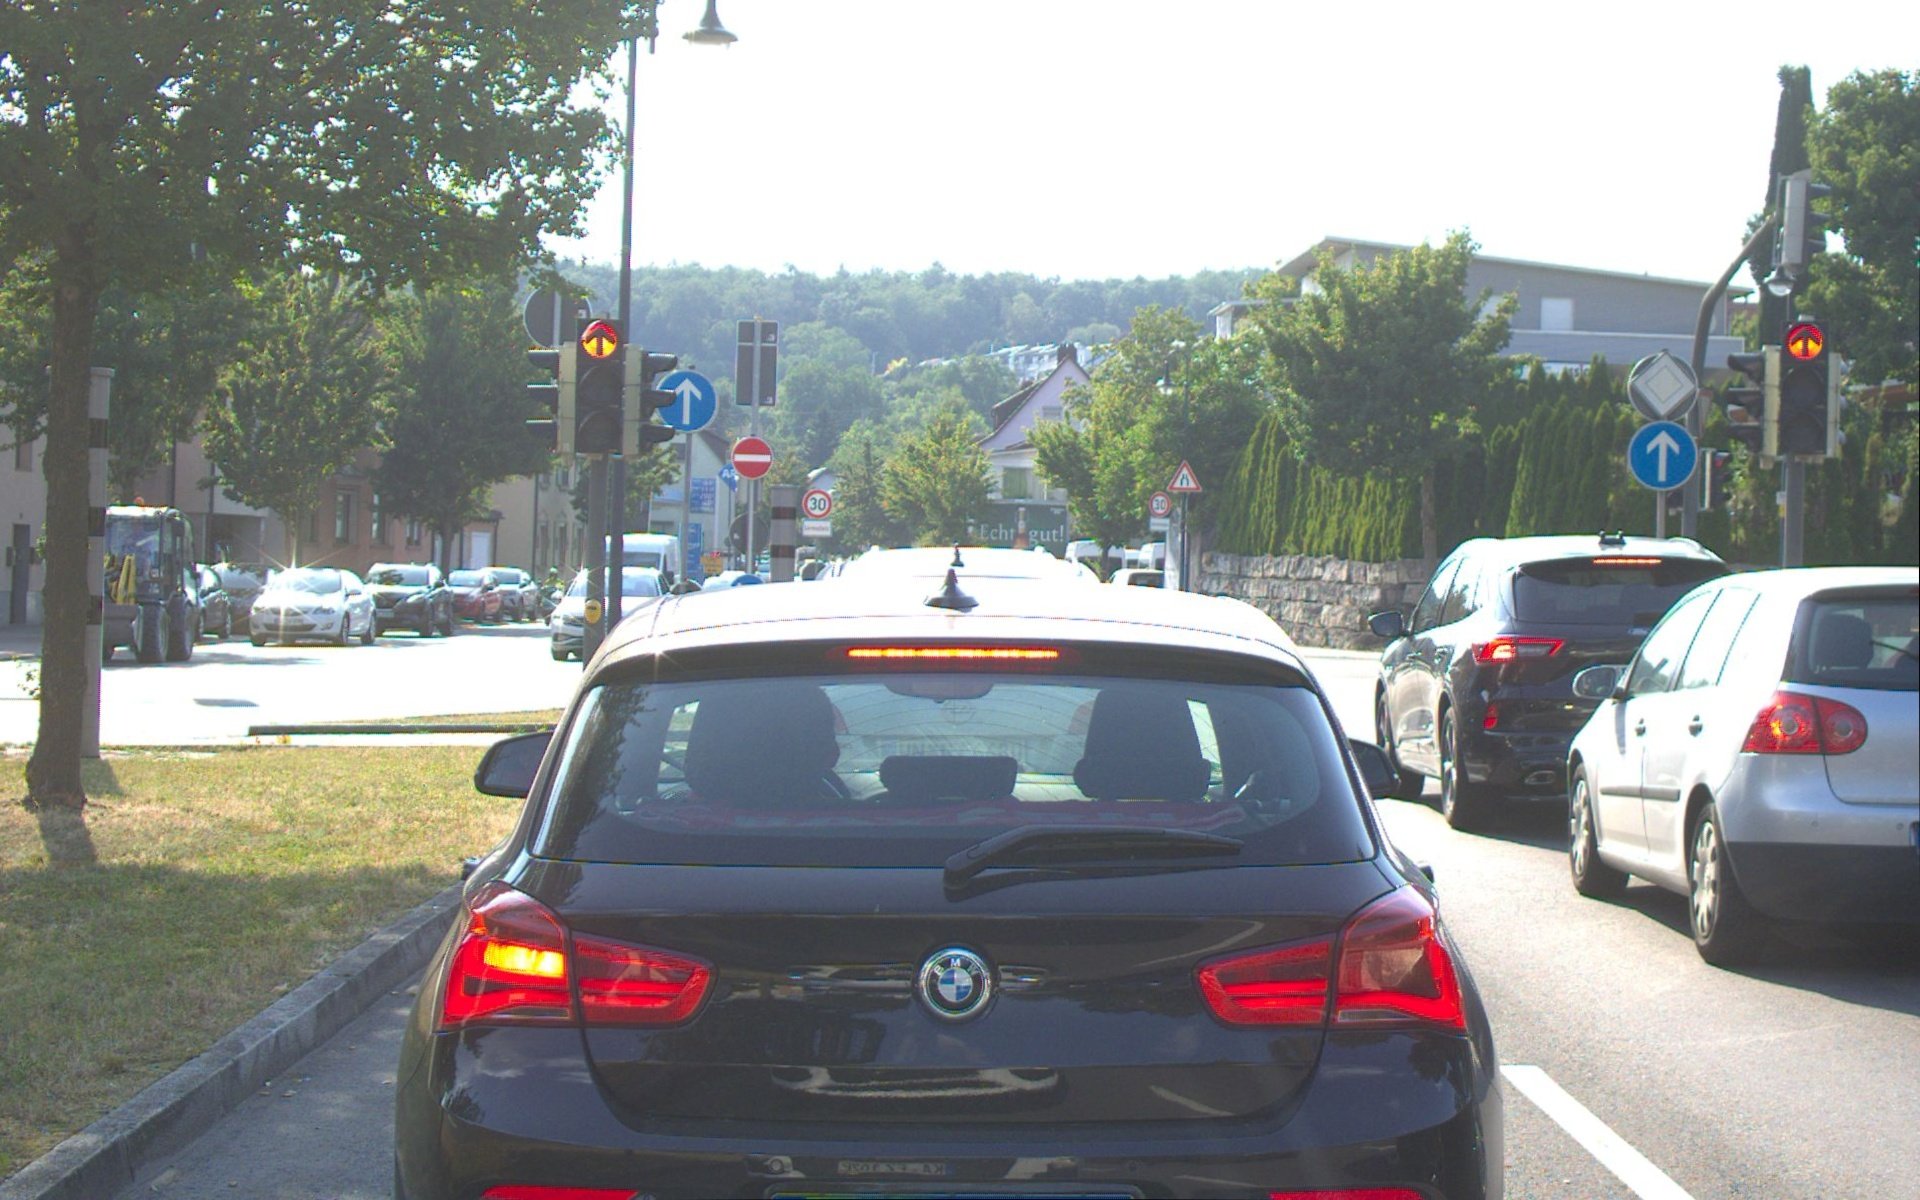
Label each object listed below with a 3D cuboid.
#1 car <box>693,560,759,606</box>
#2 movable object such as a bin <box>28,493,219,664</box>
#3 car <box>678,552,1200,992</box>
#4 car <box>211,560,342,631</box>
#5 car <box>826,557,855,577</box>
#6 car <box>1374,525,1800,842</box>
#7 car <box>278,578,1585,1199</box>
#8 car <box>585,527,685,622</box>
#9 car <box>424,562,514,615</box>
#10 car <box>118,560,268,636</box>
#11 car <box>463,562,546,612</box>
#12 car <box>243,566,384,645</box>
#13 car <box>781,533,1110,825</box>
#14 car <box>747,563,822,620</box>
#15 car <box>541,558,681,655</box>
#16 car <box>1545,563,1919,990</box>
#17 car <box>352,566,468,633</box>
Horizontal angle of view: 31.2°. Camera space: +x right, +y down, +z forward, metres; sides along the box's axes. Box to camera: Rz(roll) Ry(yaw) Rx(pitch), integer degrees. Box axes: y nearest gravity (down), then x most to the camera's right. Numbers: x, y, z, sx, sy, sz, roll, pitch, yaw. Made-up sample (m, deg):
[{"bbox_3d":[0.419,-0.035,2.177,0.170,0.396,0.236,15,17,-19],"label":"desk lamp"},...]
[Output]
[{"bbox_3d":[-7.801,-0.581,115.113,1.839,1.477,4.000,1,1,1],"label":"car"},{"bbox_3d":[-12.379,-0.337,51.138,1.736,2.433,4.450,0,1,0],"label":"movable object such as a bin"},{"bbox_3d":[-0.070,0.565,14.015,1.788,1.488,4.281,-1,1,0],"label":"car"},{"bbox_3d":[-14.523,-0.115,73.225,1.737,1.296,4.000,5,1,2],"label":"car"},{"bbox_3d":[-8.706,-2.401,250.787,1.737,1.296,3.799,5,1,2],"label":"car"},{"bbox_3d":[3.532,0.407,20.035,1.761,1.650,3.903,-1,1,0],"label":"car"},{"bbox_3d":[-0.033,0.685,6.870,1.788,1.393,4.281,-1,1,0],"label":"car"},{"bbox_3d":[-8.505,-0.681,90.370,2.084,2.385,5.529,1,1,0],"label":"car"},{"bbox_3d":[-13.858,-0.344,97.175,1.737,1.296,3.799,5,1,2],"label":"car"},{"bbox_3d":[-14.936,-0.061,67.163,1.737,1.296,4.000,5,1,3],"label":"car"},{"bbox_3d":[-13.600,-0.401,102.874,1.737,1.296,3.799,5,1,2],"label":"car"},{"bbox_3d":[-12.335,0.089,65.754,1.737,1.296,3.799,5,1,2],"label":"car"},{"bbox_3d":[-0.077,0.400,21.055,1.788,1.588,4.281,-1,1,0],"label":"car"},{"bbox_3d":[-4.739,-0.251,93.271,1.839,1.477,4.000,1,1,0],"label":"car"},{"bbox_3d":[-5.592,0.080,55.524,1.839,1.477,4.000,1,1,0],"label":"car"},{"bbox_3d":[3.559,0.585,13.753,1.761,1.421,3.903,-1,1,0],"label":"car"},{"bbox_3d":[-12.190,-0.030,76.388,1.737,1.296,3.799,5,1,2],"label":"car"}]
